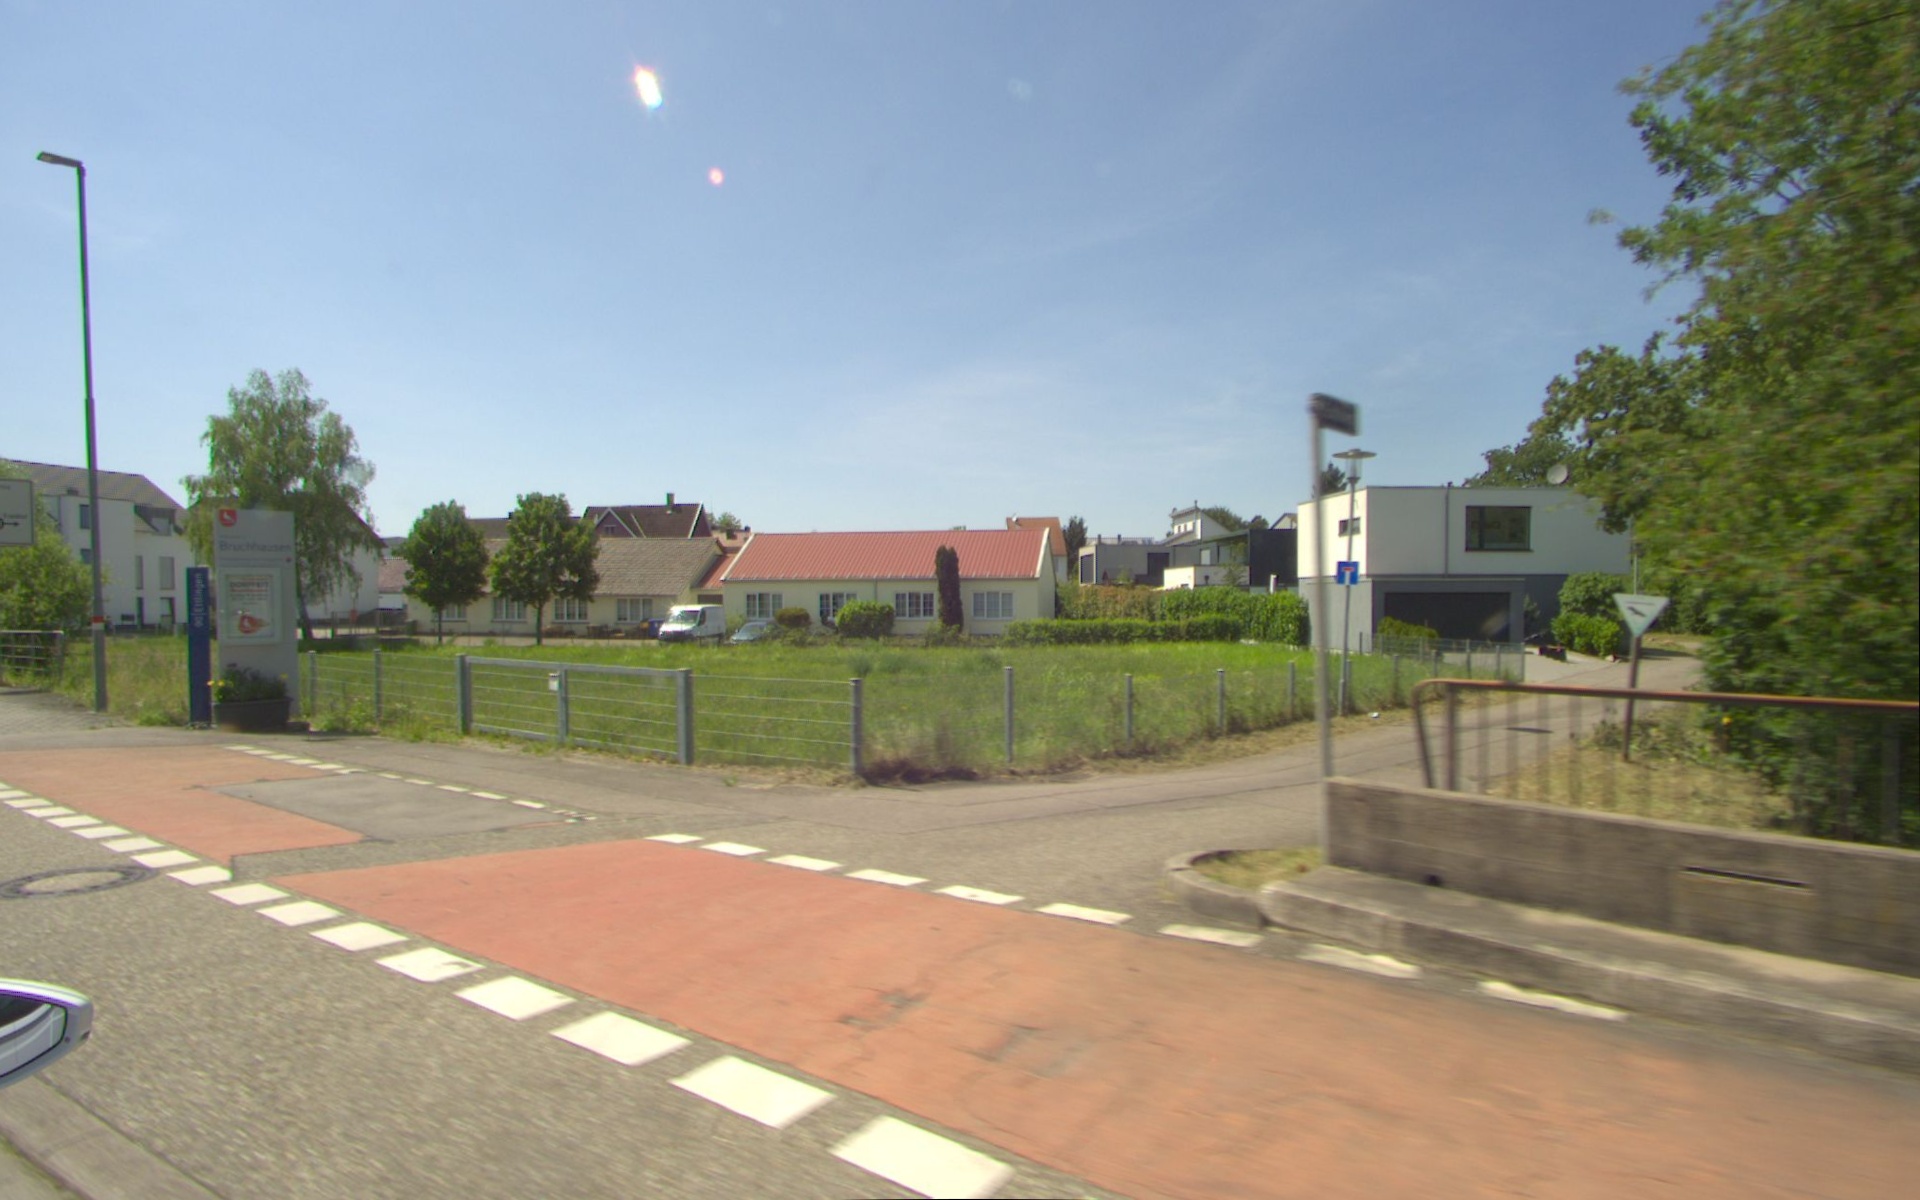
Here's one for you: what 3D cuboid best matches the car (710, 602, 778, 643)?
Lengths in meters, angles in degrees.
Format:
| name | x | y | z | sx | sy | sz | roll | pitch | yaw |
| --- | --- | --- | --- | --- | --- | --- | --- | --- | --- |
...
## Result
| name | x | y | z | sx | sy | sz | roll | pitch | yaw |
| --- | --- | --- | --- | --- | --- | --- | --- | --- | --- |
| car | -11.371 | 1.192 | 53.070 | 2.029 | 2.039 | 4.933 | 0 | -1 | 6 |

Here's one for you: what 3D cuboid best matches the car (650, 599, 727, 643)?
| name | x | y | z | sx | sy | sz | roll | pitch | yaw |
| --- | --- | --- | --- | --- | --- | --- | --- | --- | --- |
| car | -14.368 | 1.115 | 53.323 | 2.172 | 2.230 | 5.185 | 0 | -1 | 6 |
